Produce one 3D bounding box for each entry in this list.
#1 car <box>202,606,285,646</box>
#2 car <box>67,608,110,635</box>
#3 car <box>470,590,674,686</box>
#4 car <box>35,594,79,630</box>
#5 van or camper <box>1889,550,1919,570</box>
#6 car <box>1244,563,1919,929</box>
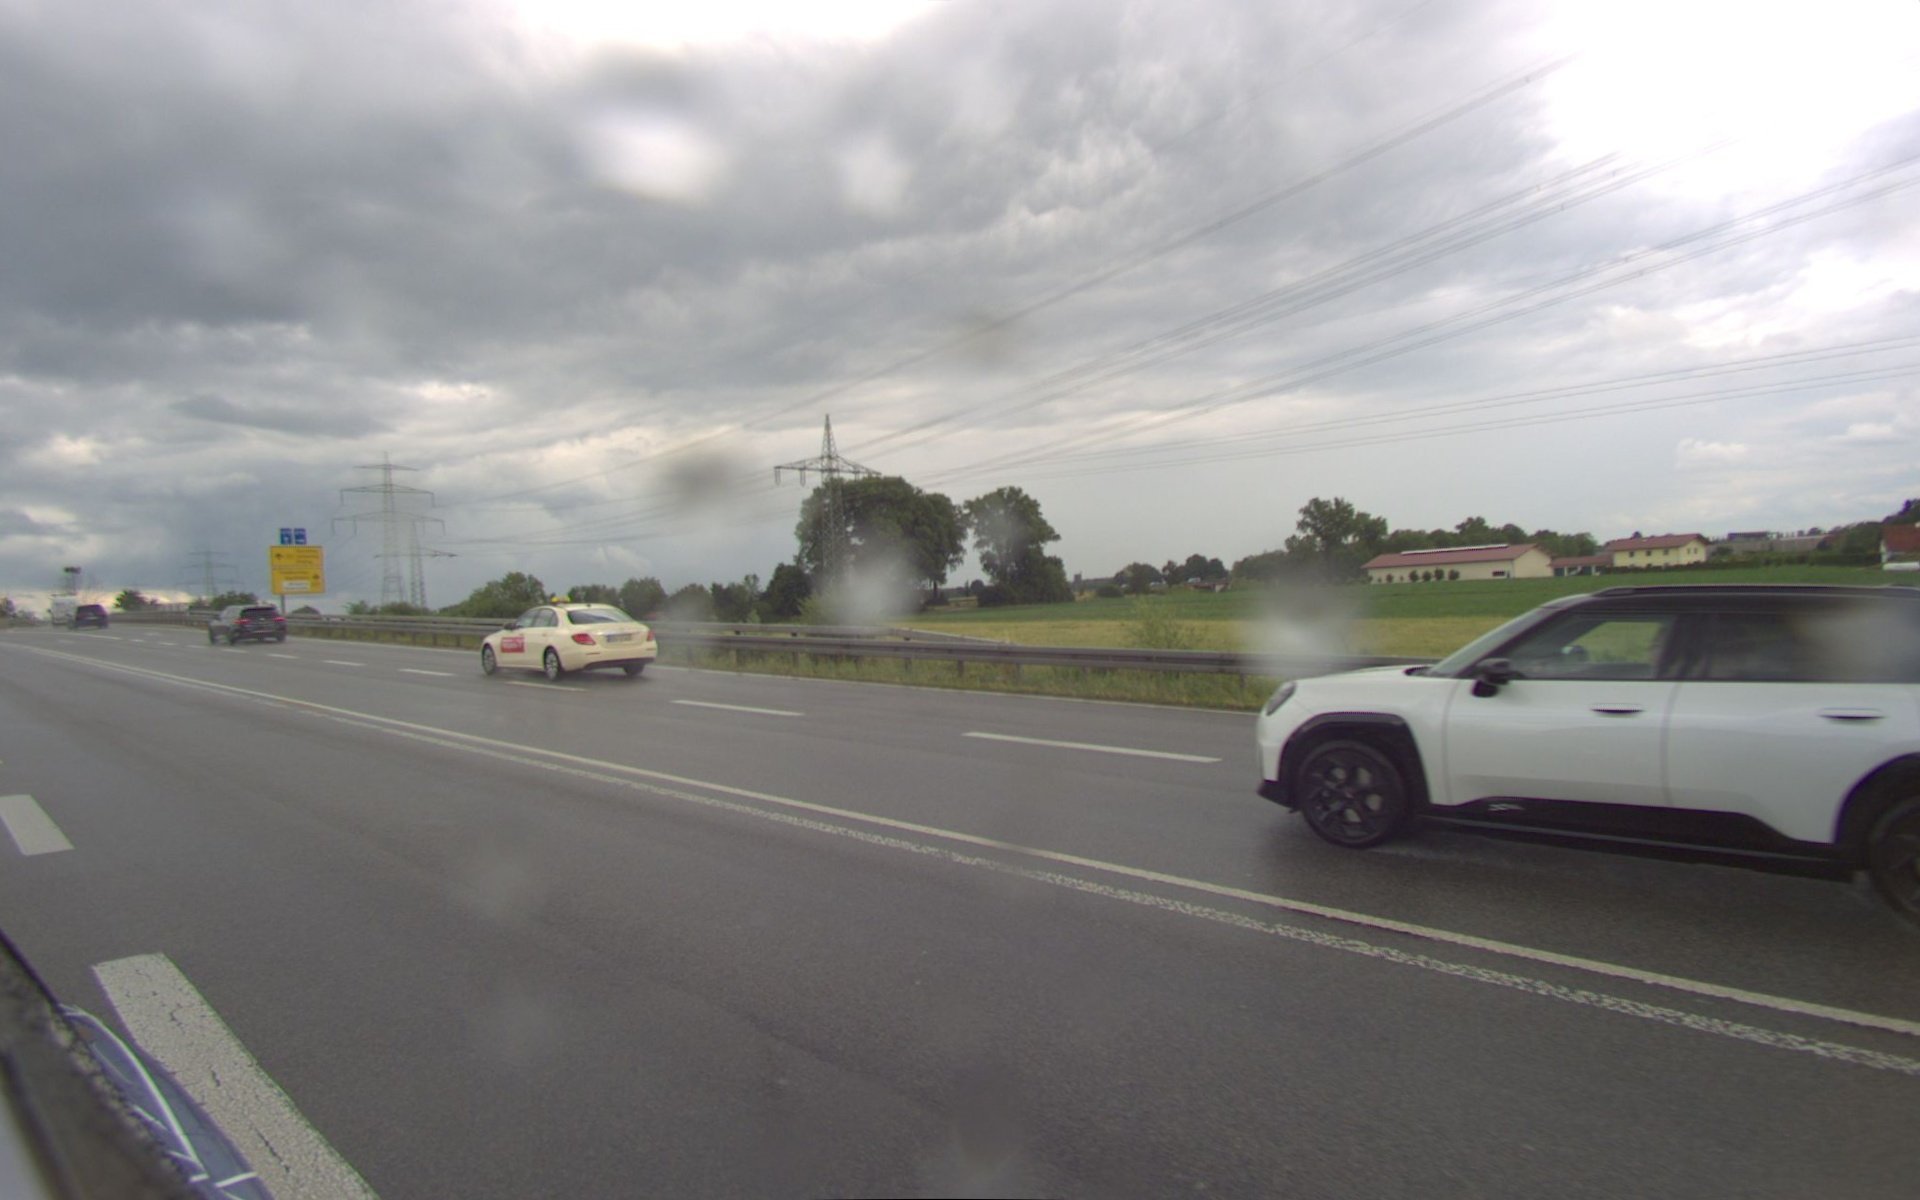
[{"bbox_3d":[-28.244,1.018,39.843,4.734,1.437,1.751,-1,0,43],"label":"car"},{"bbox_3d":[-57.882,1.386,67.198,4.638,1.621,1.689,-1,3,44],"label":"car"},{"bbox_3d":[-7.894,0.702,20.369,4.645,1.672,1.922,-1,1,43],"label":"car"},{"bbox_3d":[-73.266,0.976,82.076,5.457,2.674,1.949,-1,2,42],"label":"car"},{"bbox_3d":[139.129,-5.894,147.051,5.688,2.651,2.308,-2,2,27],"label":"van or camper"},{"bbox_3d":[3.884,0.618,5.442,4.209,1.511,1.747,-1,-1,43],"label":"car"}]
